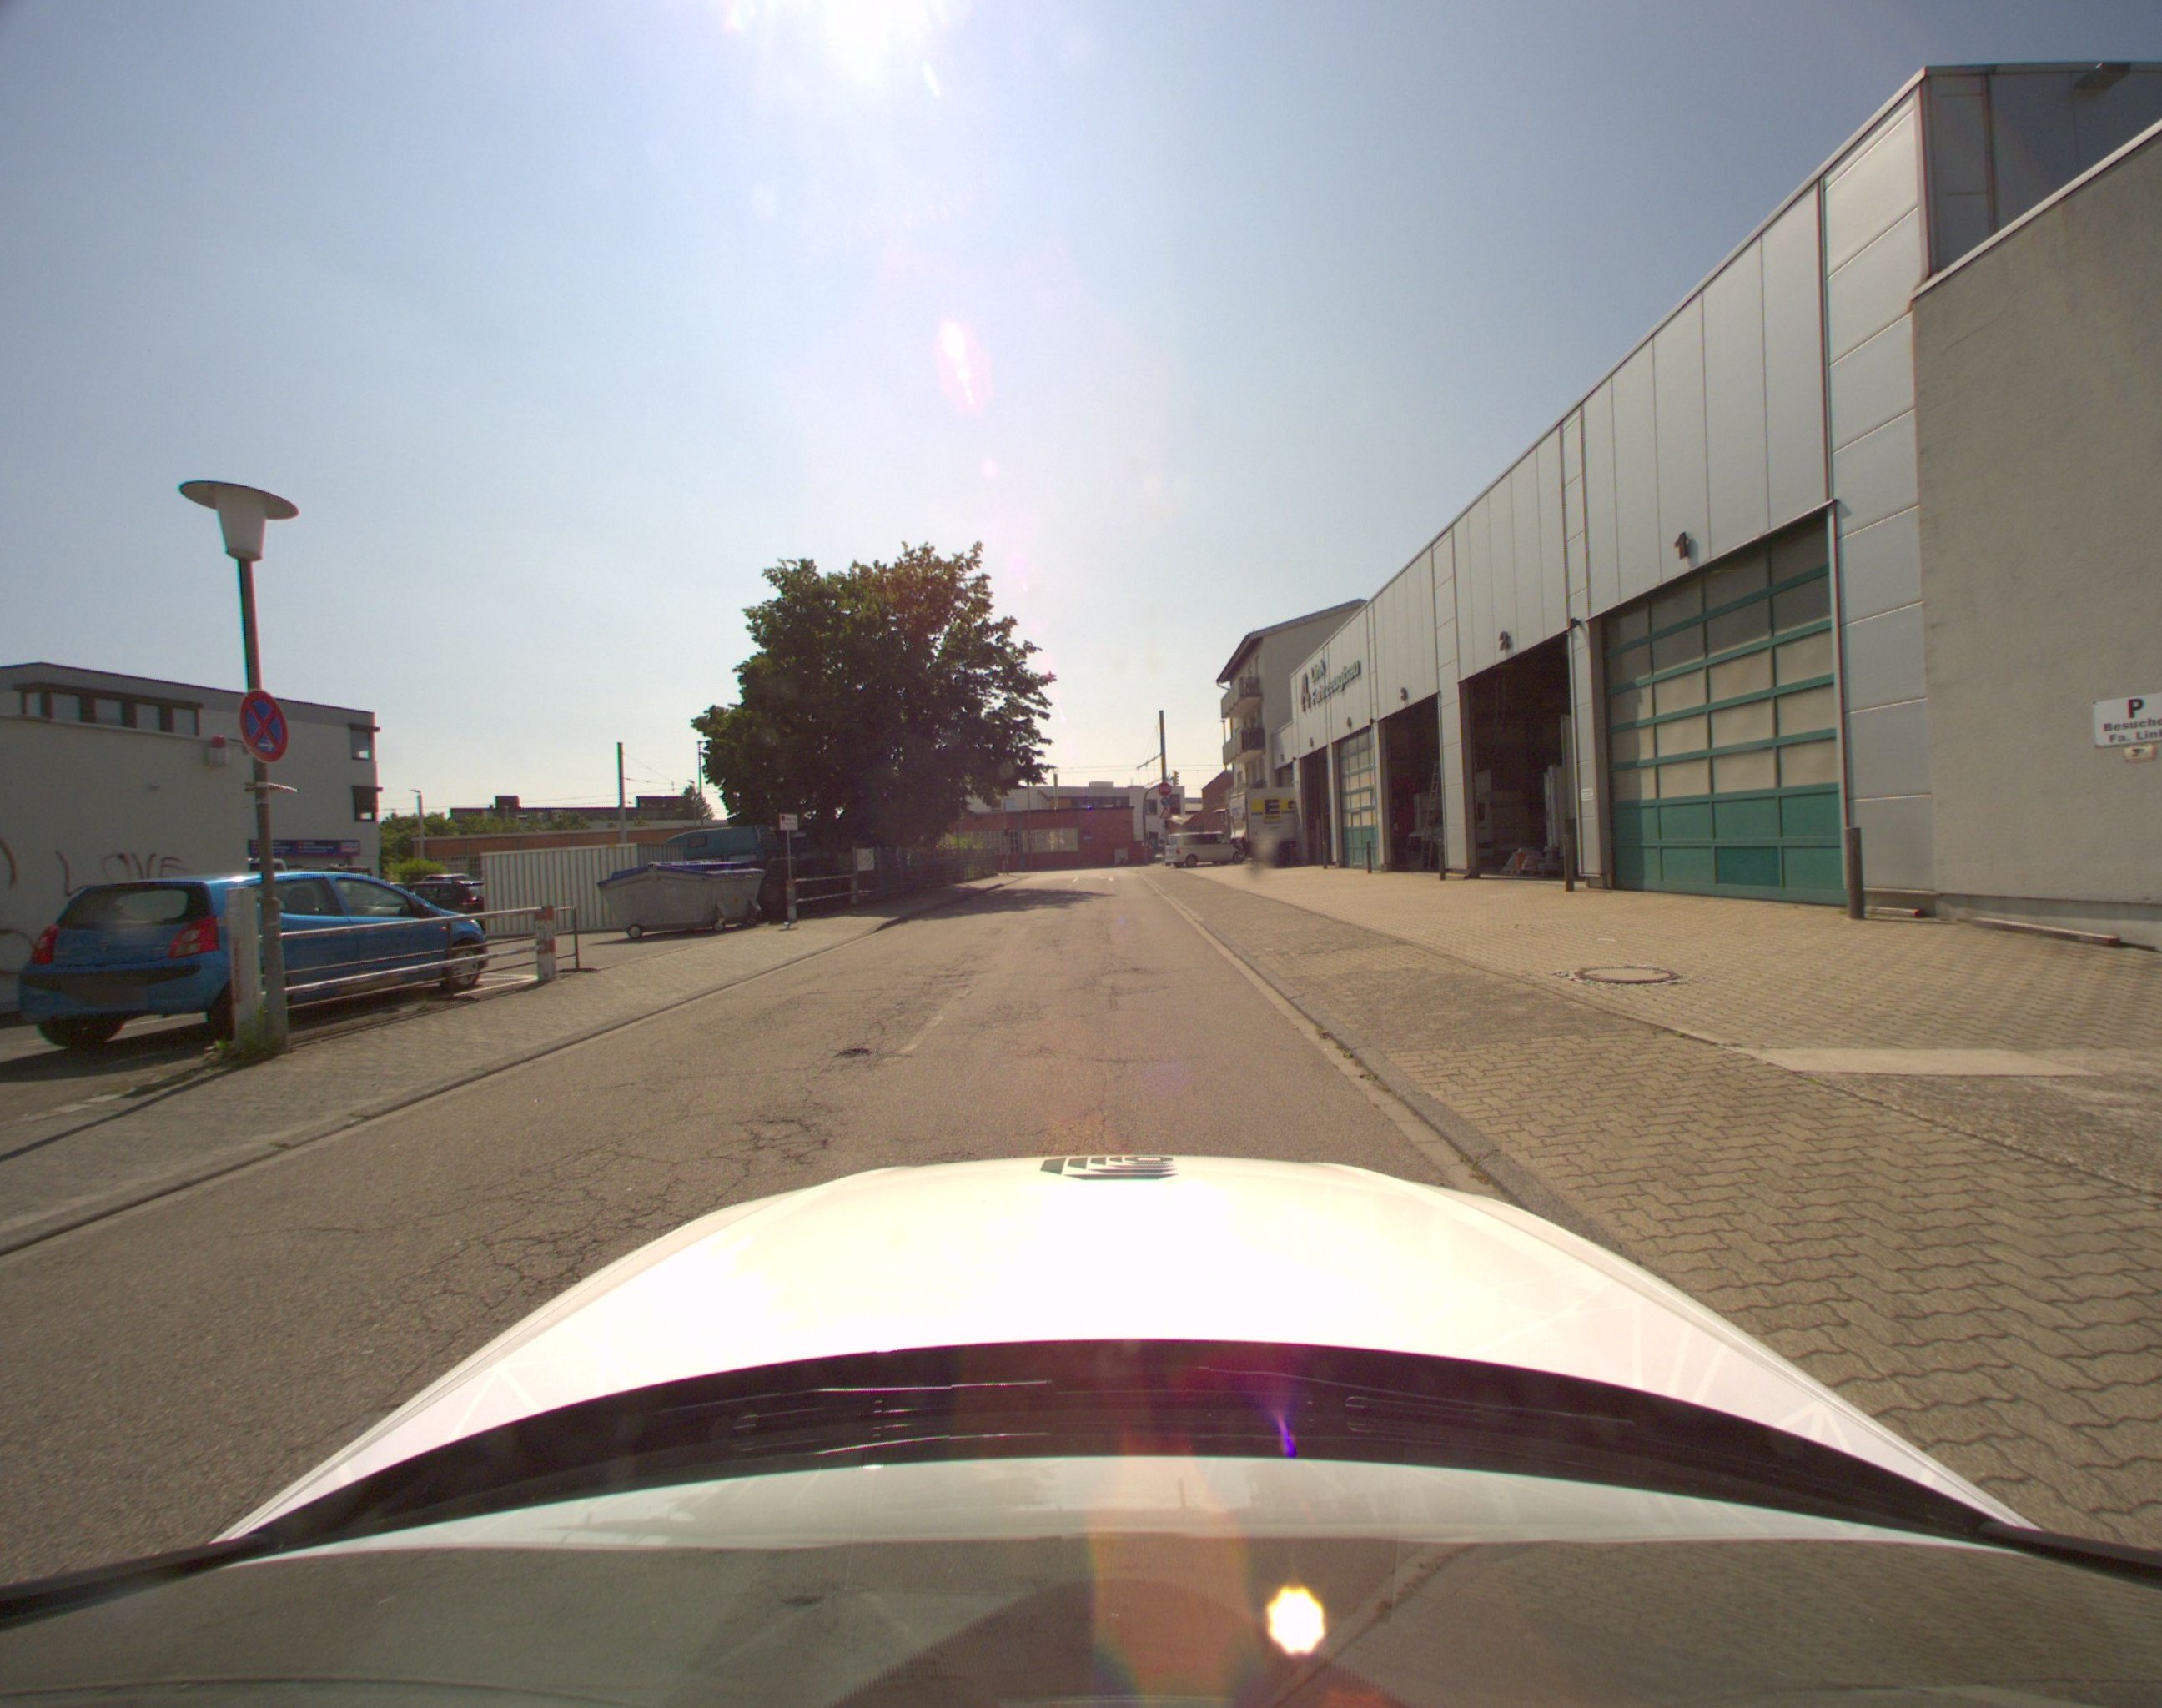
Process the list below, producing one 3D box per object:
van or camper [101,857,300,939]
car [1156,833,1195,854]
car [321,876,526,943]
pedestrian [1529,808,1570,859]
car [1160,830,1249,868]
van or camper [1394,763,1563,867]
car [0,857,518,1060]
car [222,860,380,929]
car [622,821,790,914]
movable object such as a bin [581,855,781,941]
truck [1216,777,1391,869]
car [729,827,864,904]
[{"bbox_3d":[-28.781,1.420,26.692,4.745,2.324,2.129,-3,0,11],"label":"van or camper"},{"bbox_3d":[10.734,-1.172,92.331,4.013,2.189,1.981,-2,0,-30],"label":"car"},{"bbox_3d":[-17.540,1.456,21.828,4.123,1.455,1.756,-3,0,5],"label":"car"},{"bbox_3d":[15.374,-0.668,26.727,0.809,1.620,0.865,-2,0,0],"label":"pedestrian"},{"bbox_3d":[7.169,-0.286,47.348,4.666,1.957,1.905,-2,0,-17],"label":"car"},{"bbox_3d":[13.581,-1.300,28.028,4.743,3.288,1.999,-2,0,-2],"label":"van or camper"},{"bbox_3d":[-8.101,0.865,8.488,1.808,1.530,3.675,-3,0,0],"label":"car"},{"bbox_3d":[-28.114,1.434,29.423,3.964,2.145,2.005,-3,0,8],"label":"car"},{"bbox_3d":[-11.100,0.374,24.306,4.072,2.513,1.777,-2,0,0],"label":"car"},{"bbox_3d":[-8.249,0.856,17.096,2.612,1.510,2.734,-3,0,7],"label":"movable object such as a bin"},{"bbox_3d":[10.493,-1.450,38.883,7.346,3.645,2.763,-5,0,-5],"label":"truck"},{"bbox_3d":[-10.106,0.398,29.119,4.072,2.513,1.777,-2,0,0],"label":"car"}]
